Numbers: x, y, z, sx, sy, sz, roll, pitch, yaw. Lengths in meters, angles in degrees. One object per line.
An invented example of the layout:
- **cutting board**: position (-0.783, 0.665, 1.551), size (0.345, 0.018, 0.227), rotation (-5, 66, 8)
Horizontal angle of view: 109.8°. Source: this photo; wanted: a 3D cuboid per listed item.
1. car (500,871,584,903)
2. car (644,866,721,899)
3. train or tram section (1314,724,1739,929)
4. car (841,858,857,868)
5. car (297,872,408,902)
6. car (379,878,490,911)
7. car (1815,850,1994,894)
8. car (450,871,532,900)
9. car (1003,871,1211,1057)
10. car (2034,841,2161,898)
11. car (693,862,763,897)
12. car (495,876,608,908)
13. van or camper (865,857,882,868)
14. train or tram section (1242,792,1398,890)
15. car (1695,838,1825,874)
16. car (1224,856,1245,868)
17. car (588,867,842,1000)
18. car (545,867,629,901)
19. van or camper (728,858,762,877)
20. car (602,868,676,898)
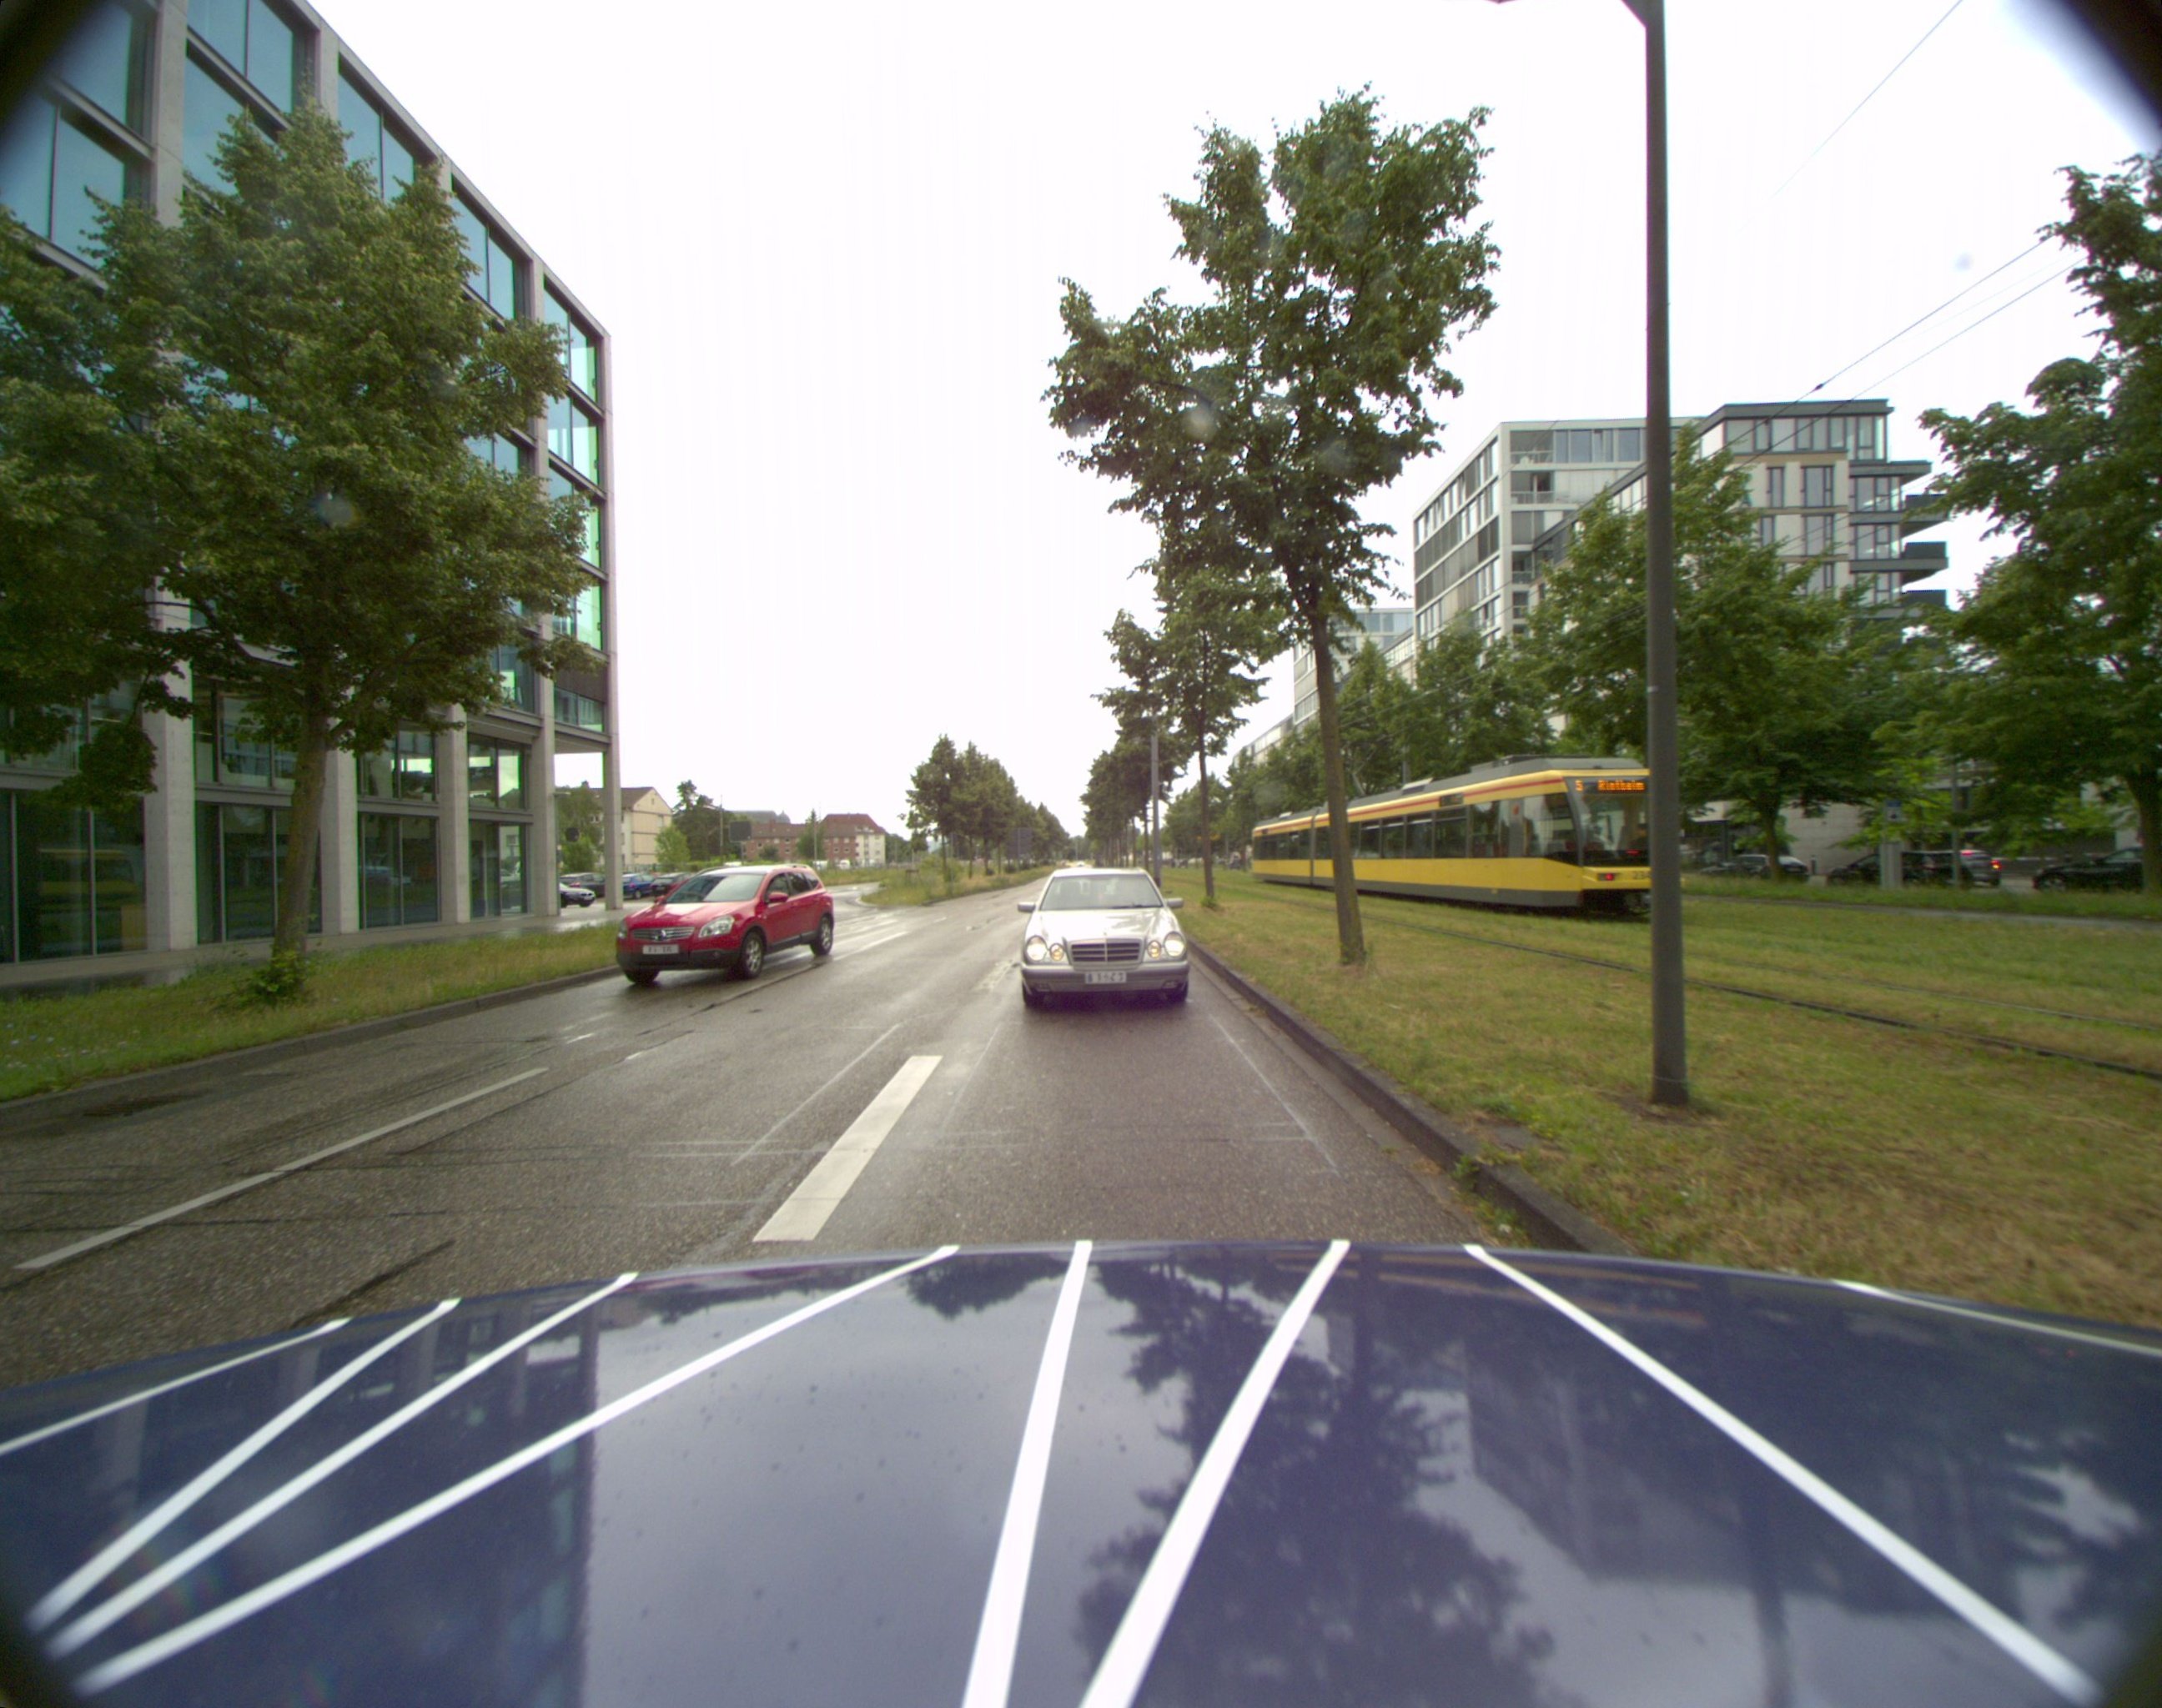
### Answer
- **car**: position (-32.847, 1.953, 46.475), size (1.789, 1.467, 4.229), rotation (-1, 4, 6)
- **car**: position (-23.995, 1.698, 45.988), size (1.859, 1.447, 4.555), rotation (-1, 4, 6)
- **train or tram section**: position (10.410, -0.472, 21.332), size (3.137, 3.637, 15.064), rotation (-2, 0, 0)
- **car**: position (-52.185, 1.997, 171.236), size (2.278, 2.206, 4.758), rotation (-2, 0, -3)
- **car**: position (-36.275, 1.648, 37.892), size (3.995, 1.364, 1.862), rotation (-1, -1, 6)
- **car**: position (-31.743, 1.982, 37.365), size (3.996, 1.479, 1.862), rotation (-1, -2, 4)
- **car**: position (28.934, 0.598, 26.915), size (1.998, 1.370, 4.000), rotation (-2, 0, 1)
- **car**: position (-37.632, 1.983, 48.624), size (1.859, 1.592, 4.002), rotation (-2, 0, 6)
- **car**: position (0.221, 0.997, 8.821), size (1.738, 1.451, 4.607), rotation (-2, 0, 0)
- **car**: position (28.708, 0.398, 20.082), size (1.706, 1.441, 4.241), rotation (-2, 0, 1)
- **car**: position (-21.188, 1.510, 45.777), size (1.858, 1.573, 3.999), rotation (-2, 5, 8)
- **car**: position (-25.723, 1.855, 36.982), size (4.227, 1.429, 1.982), rotation (-1, -2, 6)
- **van or camper**: position (-45.589, 1.779, 167.148), size (2.208, 2.294, 6.147), rotation (-3, 0, -2)
- **train or tram section**: position (10.524, -0.460, 35.640), size (3.137, 3.637, 13.406), rotation (-2, 0, 0)
- **car**: position (28.999, 0.090, 32.625), size (1.998, 1.370, 4.000), rotation (-2, 0, 1)
- **car**: position (20.229, 1.040, 100.153), size (1.867, 1.515, 4.479), rotation (-1, 0, 1)
- **car**: position (-5.400, 1.072, 11.950), size (1.799, 1.602, 4.246), rotation (-2, 0, 2)
- **car**: position (-30.186, 1.790, 46.642), size (1.859, 1.593, 4.415), rotation (-1, 4, 6)
- **van or camper**: position (-49.960, 1.914, 113.075), size (2.314, 2.673, 6.395), rotation (-1, 0, -2)
- **car**: position (-26.955, 1.757, 46.522), size (1.859, 1.447, 4.000), rotation (-1, 3, 6)
